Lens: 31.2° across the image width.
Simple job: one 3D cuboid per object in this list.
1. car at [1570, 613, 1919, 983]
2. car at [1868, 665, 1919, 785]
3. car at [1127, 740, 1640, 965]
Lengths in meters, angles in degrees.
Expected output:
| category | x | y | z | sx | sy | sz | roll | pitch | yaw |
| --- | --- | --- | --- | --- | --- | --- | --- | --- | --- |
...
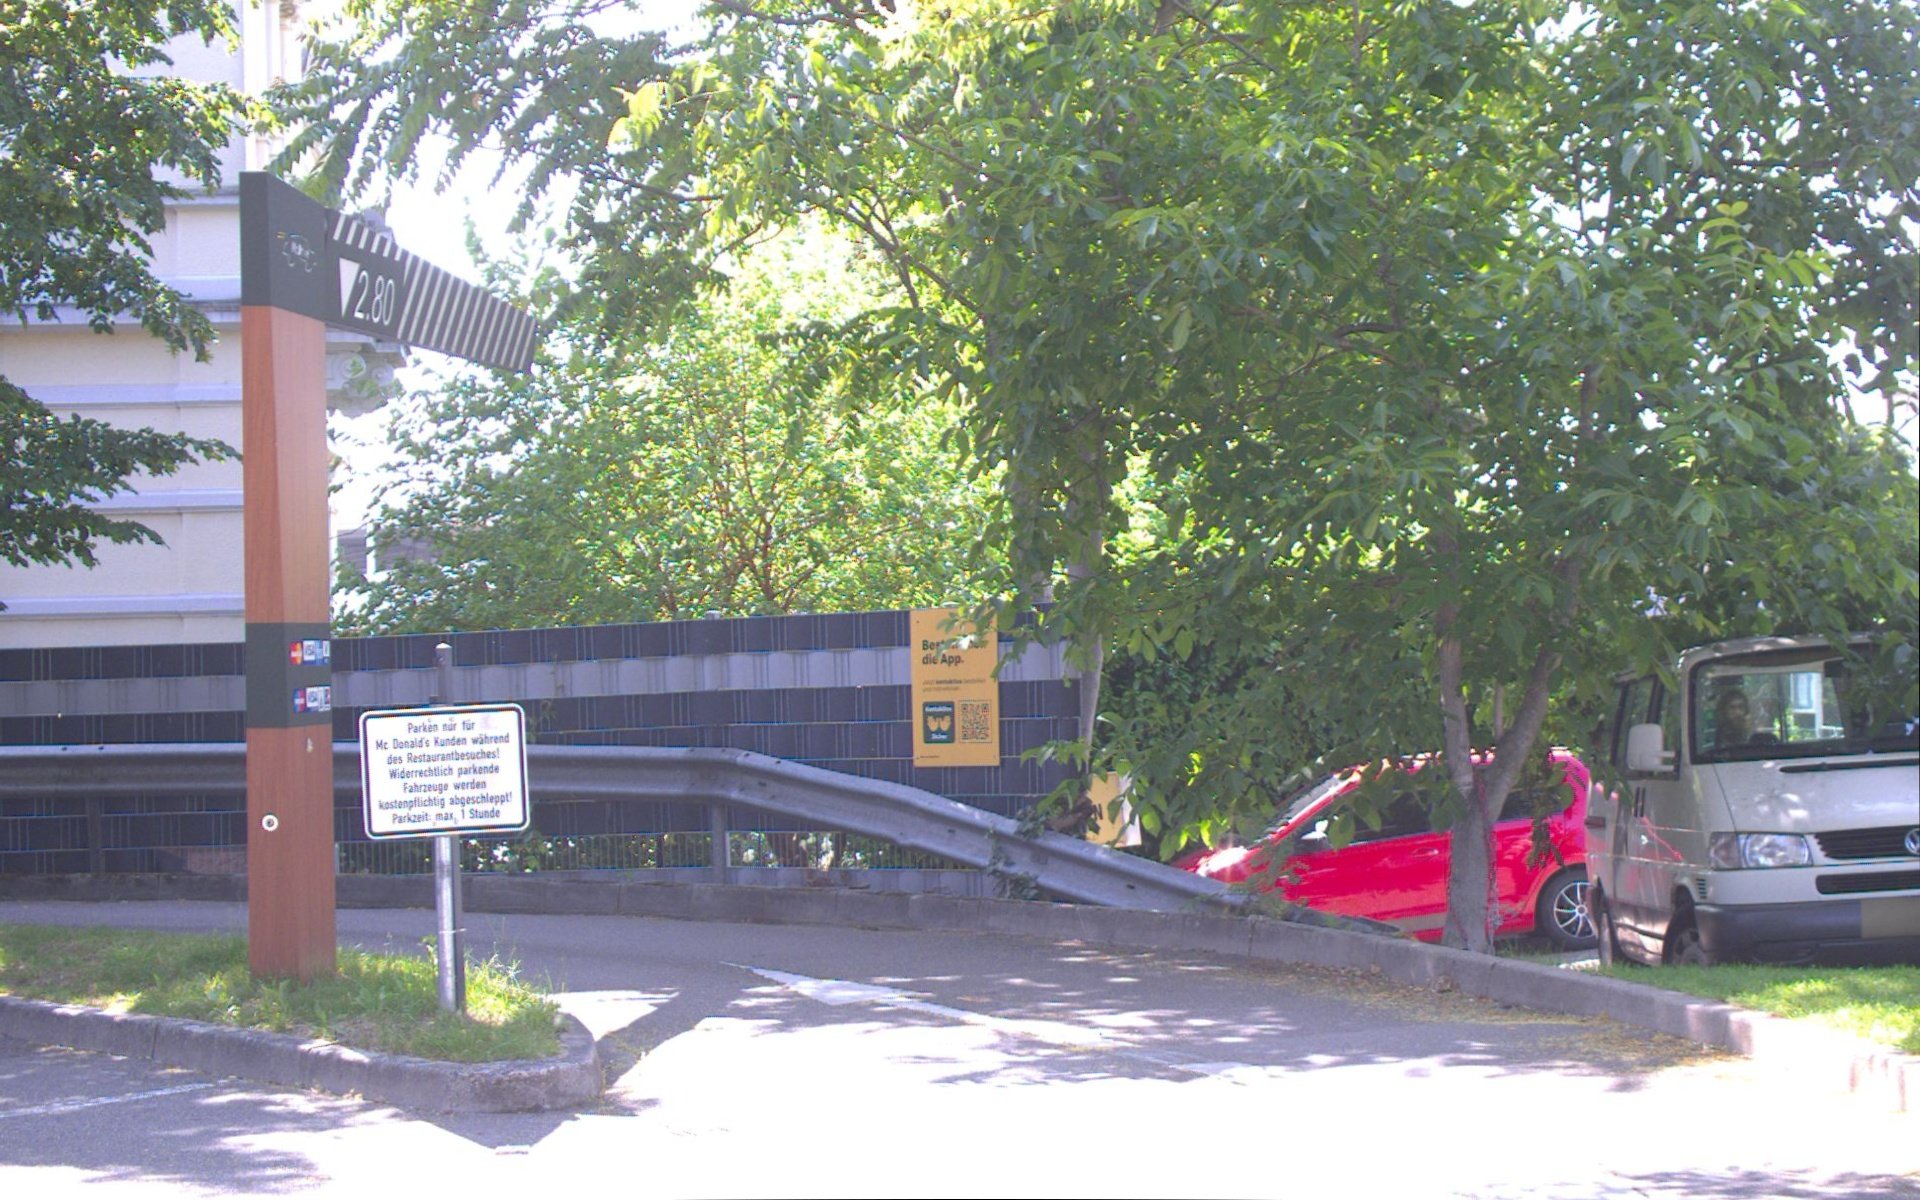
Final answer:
| category | x | y | z | sx | sy | sz | roll | pitch | yaw |
| --- | --- | --- | --- | --- | --- | --- | --- | --- | --- |
| car | 4.251 | 0.858 | 17.238 | 1.952 | 1.578 | 5.030 | 0 | 0 | 6 |
| car | 15.926 | 1.829 | 50.438 | 4.637 | 1.720 | 2.000 | 1 | -2 | -12 |
| car | 2.995 | 1.786 | 24.689 | 3.403 | 1.374 | 1.487 | -2 | 1 | -4 |
